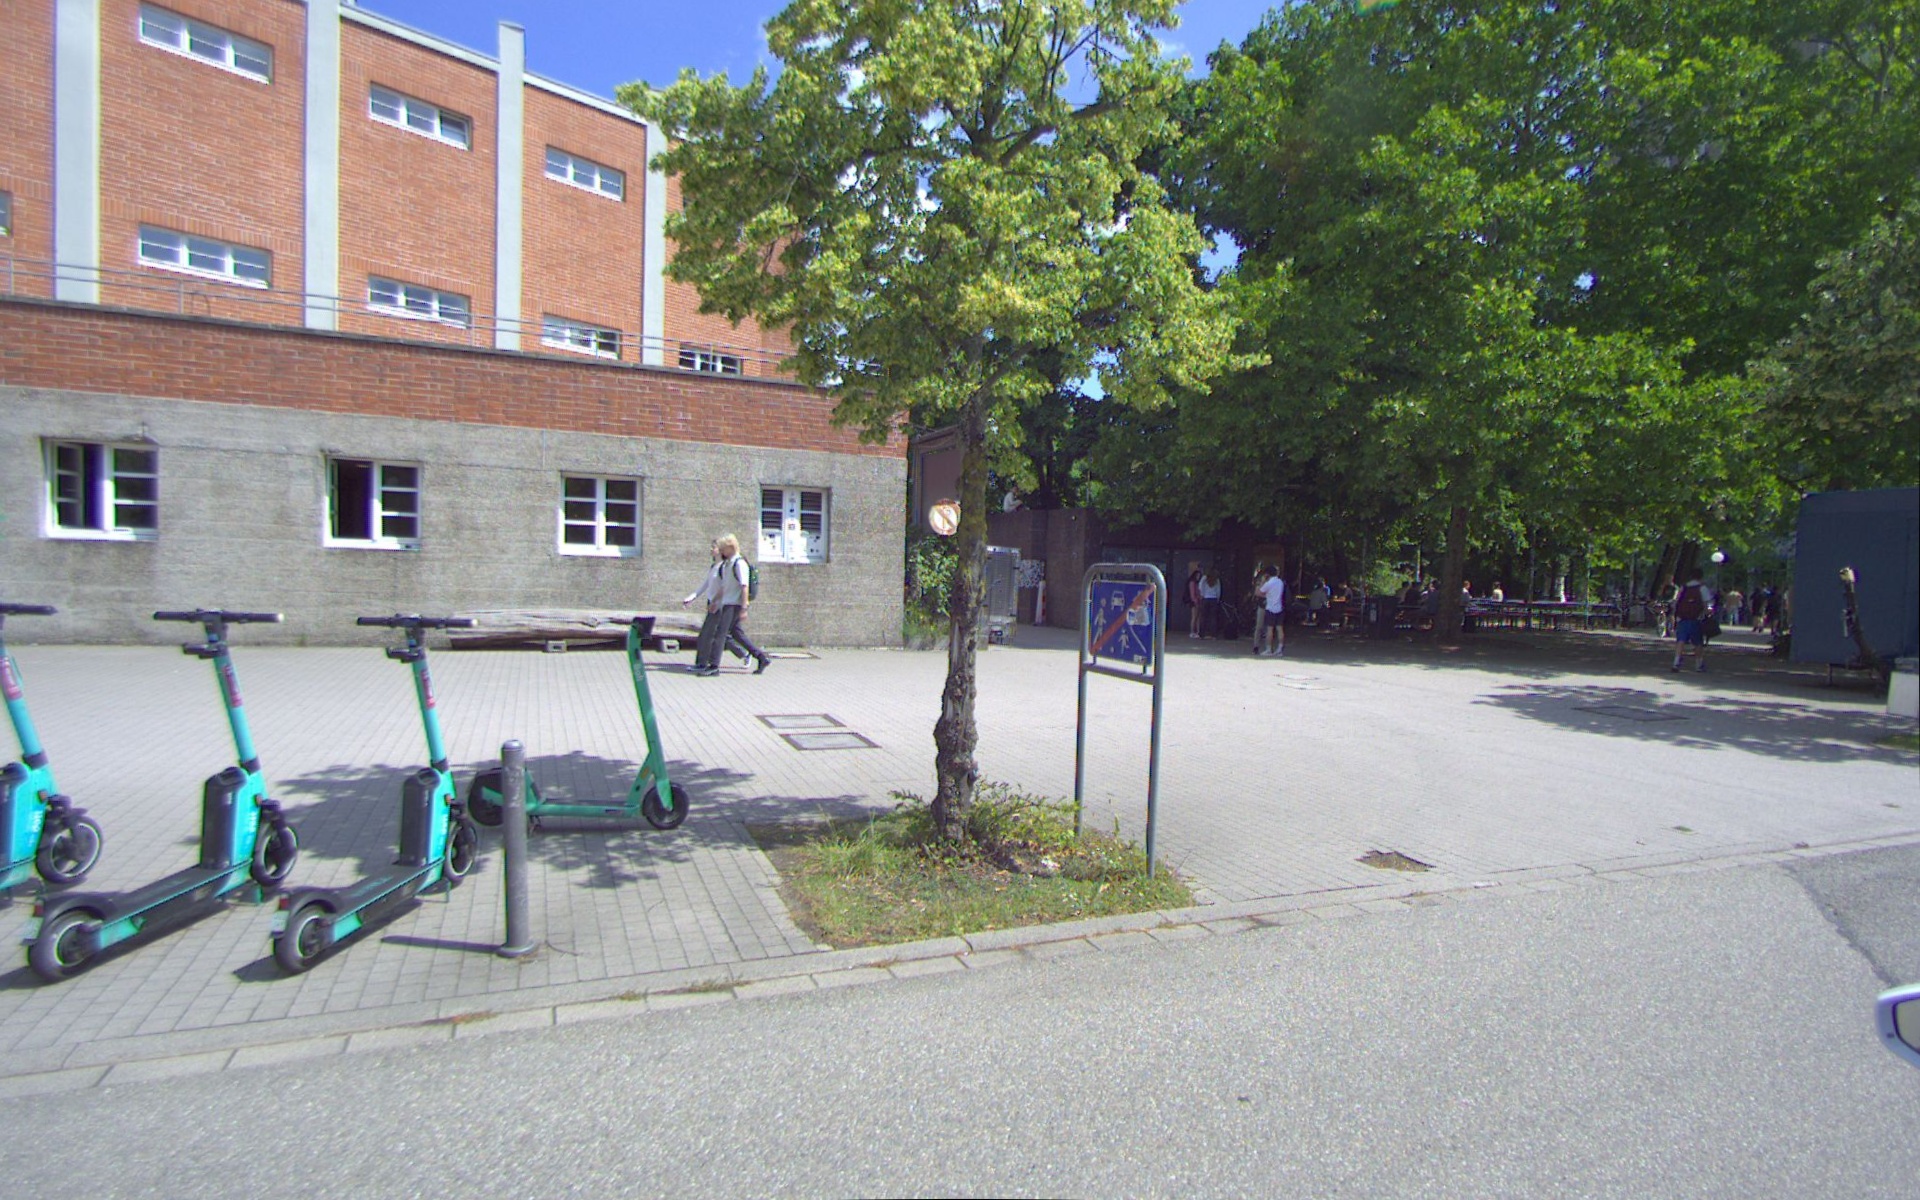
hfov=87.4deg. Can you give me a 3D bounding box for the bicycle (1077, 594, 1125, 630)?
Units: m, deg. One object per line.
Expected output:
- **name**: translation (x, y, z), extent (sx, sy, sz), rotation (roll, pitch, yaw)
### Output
- **bicycle**: translation (3.714, 0.322, 26.420), extent (1.214, 0.895, 0.303), rotation (2, 2, -22)

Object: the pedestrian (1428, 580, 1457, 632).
- **pedestrian**: translation (13.368, 0.161, 27.826), extent (0.585, 1.388, 0.740), rotation (4, 5, 32)

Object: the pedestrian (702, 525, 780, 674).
- **pedestrian**: translation (-2.707, -0.007, 12.398), extent (0.794, 1.785, 0.561), rotation (1, 2, -24)

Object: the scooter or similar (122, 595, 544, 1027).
- **scooter or similar**: translation (-2.216, 0.631, 3.802), extent (0.514, 1.241, 1.575), rotation (3, 2, 4)

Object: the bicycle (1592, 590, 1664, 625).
- **bicycle**: translation (23.223, 0.256, 34.963), extent (0.578, 1.134, 1.996), rotation (1, 2, -32)

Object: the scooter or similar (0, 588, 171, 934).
- **scooter or similar**: translation (-3.797, 0.602, 3.632), extent (0.559, 1.241, 1.575), rotation (3, 2, 4)

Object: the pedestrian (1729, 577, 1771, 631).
- **pedestrian**: translation (30.003, 0.134, 38.146), extent (0.806, 1.974, 0.852), rotation (4, 4, 14)

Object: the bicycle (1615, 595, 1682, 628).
- **bicycle**: translation (25.977, 0.411, 37.946), extent (0.578, 1.134, 1.996), rotation (1, 2, -32)

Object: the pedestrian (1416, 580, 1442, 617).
- **pedestrian**: translation (15.546, -0.042, 33.303), extent (0.722, 1.210, 0.388), rotation (1, 3, -33)

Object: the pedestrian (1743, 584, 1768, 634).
- **pedestrian**: translation (31.623, 0.353, 39.934), extent (0.578, 1.930, 0.517), rotation (3, 2, 20)

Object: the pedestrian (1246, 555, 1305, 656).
- **pedestrian**: translation (5.941, 0.100, 18.951), extent (0.863, 1.844, 0.449), rotation (4, 1, 4)

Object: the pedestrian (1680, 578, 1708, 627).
- **pedestrian**: translation (26.281, 0.095, 35.963), extent (0.623, 1.693, 0.726), rotation (5, 4, 43)

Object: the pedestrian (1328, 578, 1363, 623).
- **pedestrian**: translation (11.360, 0.014, 29.613), extent (0.683, 1.288, 0.559), rotation (1, 3, -23)

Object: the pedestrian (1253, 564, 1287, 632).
- **pedestrian**: translation (7.925, -0.058, 25.661), extent (0.666, 1.673, 0.502), rotation (4, 4, 27)

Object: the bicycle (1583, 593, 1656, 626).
- **bicycle**: translation (22.491, 0.327, 34.313), extent (0.578, 1.021, 1.996), rotation (1, 2, -32)

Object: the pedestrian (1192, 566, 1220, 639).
- **pedestrian**: translation (6.004, 0.061, 24.482), extent (0.520, 1.734, 0.448), rotation (4, 4, 22)

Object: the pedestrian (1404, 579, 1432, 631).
- **pedestrian**: translation (12.999, 0.129, 28.503), extent (0.585, 1.388, 0.702), rotation (4, 5, 32)

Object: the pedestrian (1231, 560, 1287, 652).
- **pedestrian**: translation (5.866, 0.117, 19.762), extent (0.863, 1.743, 0.489), rotation (4, 1, 4)

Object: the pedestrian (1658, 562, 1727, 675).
- **pedestrian**: translation (12.737, 0.294, 17.489), extent (0.840, 1.861, 0.875), rotation (4, 5, 36)

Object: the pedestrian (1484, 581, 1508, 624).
- **pedestrian**: translation (18.346, 0.098, 34.380), extent (0.455, 1.442, 0.502), rotation (0, 3, -33)

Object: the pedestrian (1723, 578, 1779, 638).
- **pedestrian**: translation (27.772, 0.274, 35.302), extent (1.102, 1.974, 0.892), rotation (4, 4, 14)

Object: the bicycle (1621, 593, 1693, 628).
- **bicycle**: translation (24.679, 0.345, 35.605), extent (0.578, 1.134, 1.996), rotation (1, 2, -32)

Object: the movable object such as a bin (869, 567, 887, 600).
- **movable object such as a bin**: translation (-3.121, -0.641, 38.186), extent (0.525, 1.216, 0.492), rotation (1, 3, -25)

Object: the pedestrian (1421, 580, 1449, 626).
- **pedestrian**: translation (13.527, 0.074, 28.593), extent (0.585, 1.250, 0.740), rotation (4, 5, 32)

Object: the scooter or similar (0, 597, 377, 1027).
- **scooter or similar**: translation (-3.011, 0.643, 3.831), extent (0.553, 1.241, 1.575), rotation (3, 2, 4)

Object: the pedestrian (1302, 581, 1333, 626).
- **pedestrian**: translation (10.922, 0.103, 30.712), extent (0.551, 1.341, 0.643), rotation (1, 2, -22)

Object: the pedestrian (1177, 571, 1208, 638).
- **pedestrian**: translation (5.804, 0.096, 25.077), extent (0.594, 1.615, 0.412), rotation (4, 4, 25)

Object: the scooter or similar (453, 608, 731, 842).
- **scooter or similar**: translation (-1.964, 0.663, 5.511), extent (1.326, 1.164, 0.563), rotation (2, 2, -12)

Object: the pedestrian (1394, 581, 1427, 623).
- **pedestrian**: translation (14.001, 0.066, 31.251), extent (0.759, 1.267, 0.565), rotation (0, 4, -35)

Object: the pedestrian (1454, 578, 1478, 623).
- **pedestrian**: translation (17.751, 0.028, 35.227), extent (0.469, 1.543, 0.502), rotation (0, 4, -34)

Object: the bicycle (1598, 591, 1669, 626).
- **bicycle**: translation (23.822, 0.290, 35.554), extent (0.578, 1.134, 1.996), rotation (1, 2, -32)

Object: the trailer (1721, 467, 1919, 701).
- **trailer**: translation (15.051, -0.198, 15.321), extent (6.179, 3.067, 2.689), rotation (1, 3, -24)

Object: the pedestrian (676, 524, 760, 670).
- **pedestrian**: translation (-3.094, -0.043, 12.815), extent (0.905, 1.803, 0.574), rotation (1, 3, -24)

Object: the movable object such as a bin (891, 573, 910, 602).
- **movable object such as a bin**: translation (-2.177, -0.458, 36.706), extent (0.525, 1.016, 0.492), rotation (1, 3, -25)

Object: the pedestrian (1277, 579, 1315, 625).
- **pedestrian**: translation (10.088, 0.051, 30.150), extent (0.767, 1.341, 0.686), rotation (1, 2, -22)

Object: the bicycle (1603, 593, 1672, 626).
- **bicycle**: translation (24.813, 0.342, 36.846), extent (0.578, 1.134, 1.996), rotation (1, 2, -32)

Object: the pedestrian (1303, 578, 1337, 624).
- **pedestrian**: translation (10.478, 0.028, 29.233), extent (0.683, 1.288, 0.559), rotation (1, 3, -23)

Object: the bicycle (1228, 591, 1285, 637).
- **bicycle**: translation (7.670, 0.357, 25.987), extent (1.324, 1.091, 0.417), rotation (4, 1, 23)

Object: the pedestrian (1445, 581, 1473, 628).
- **pedestrian**: translation (14.015, 0.114, 28.220), extent (0.585, 1.250, 0.740), rotation (4, 5, 32)
